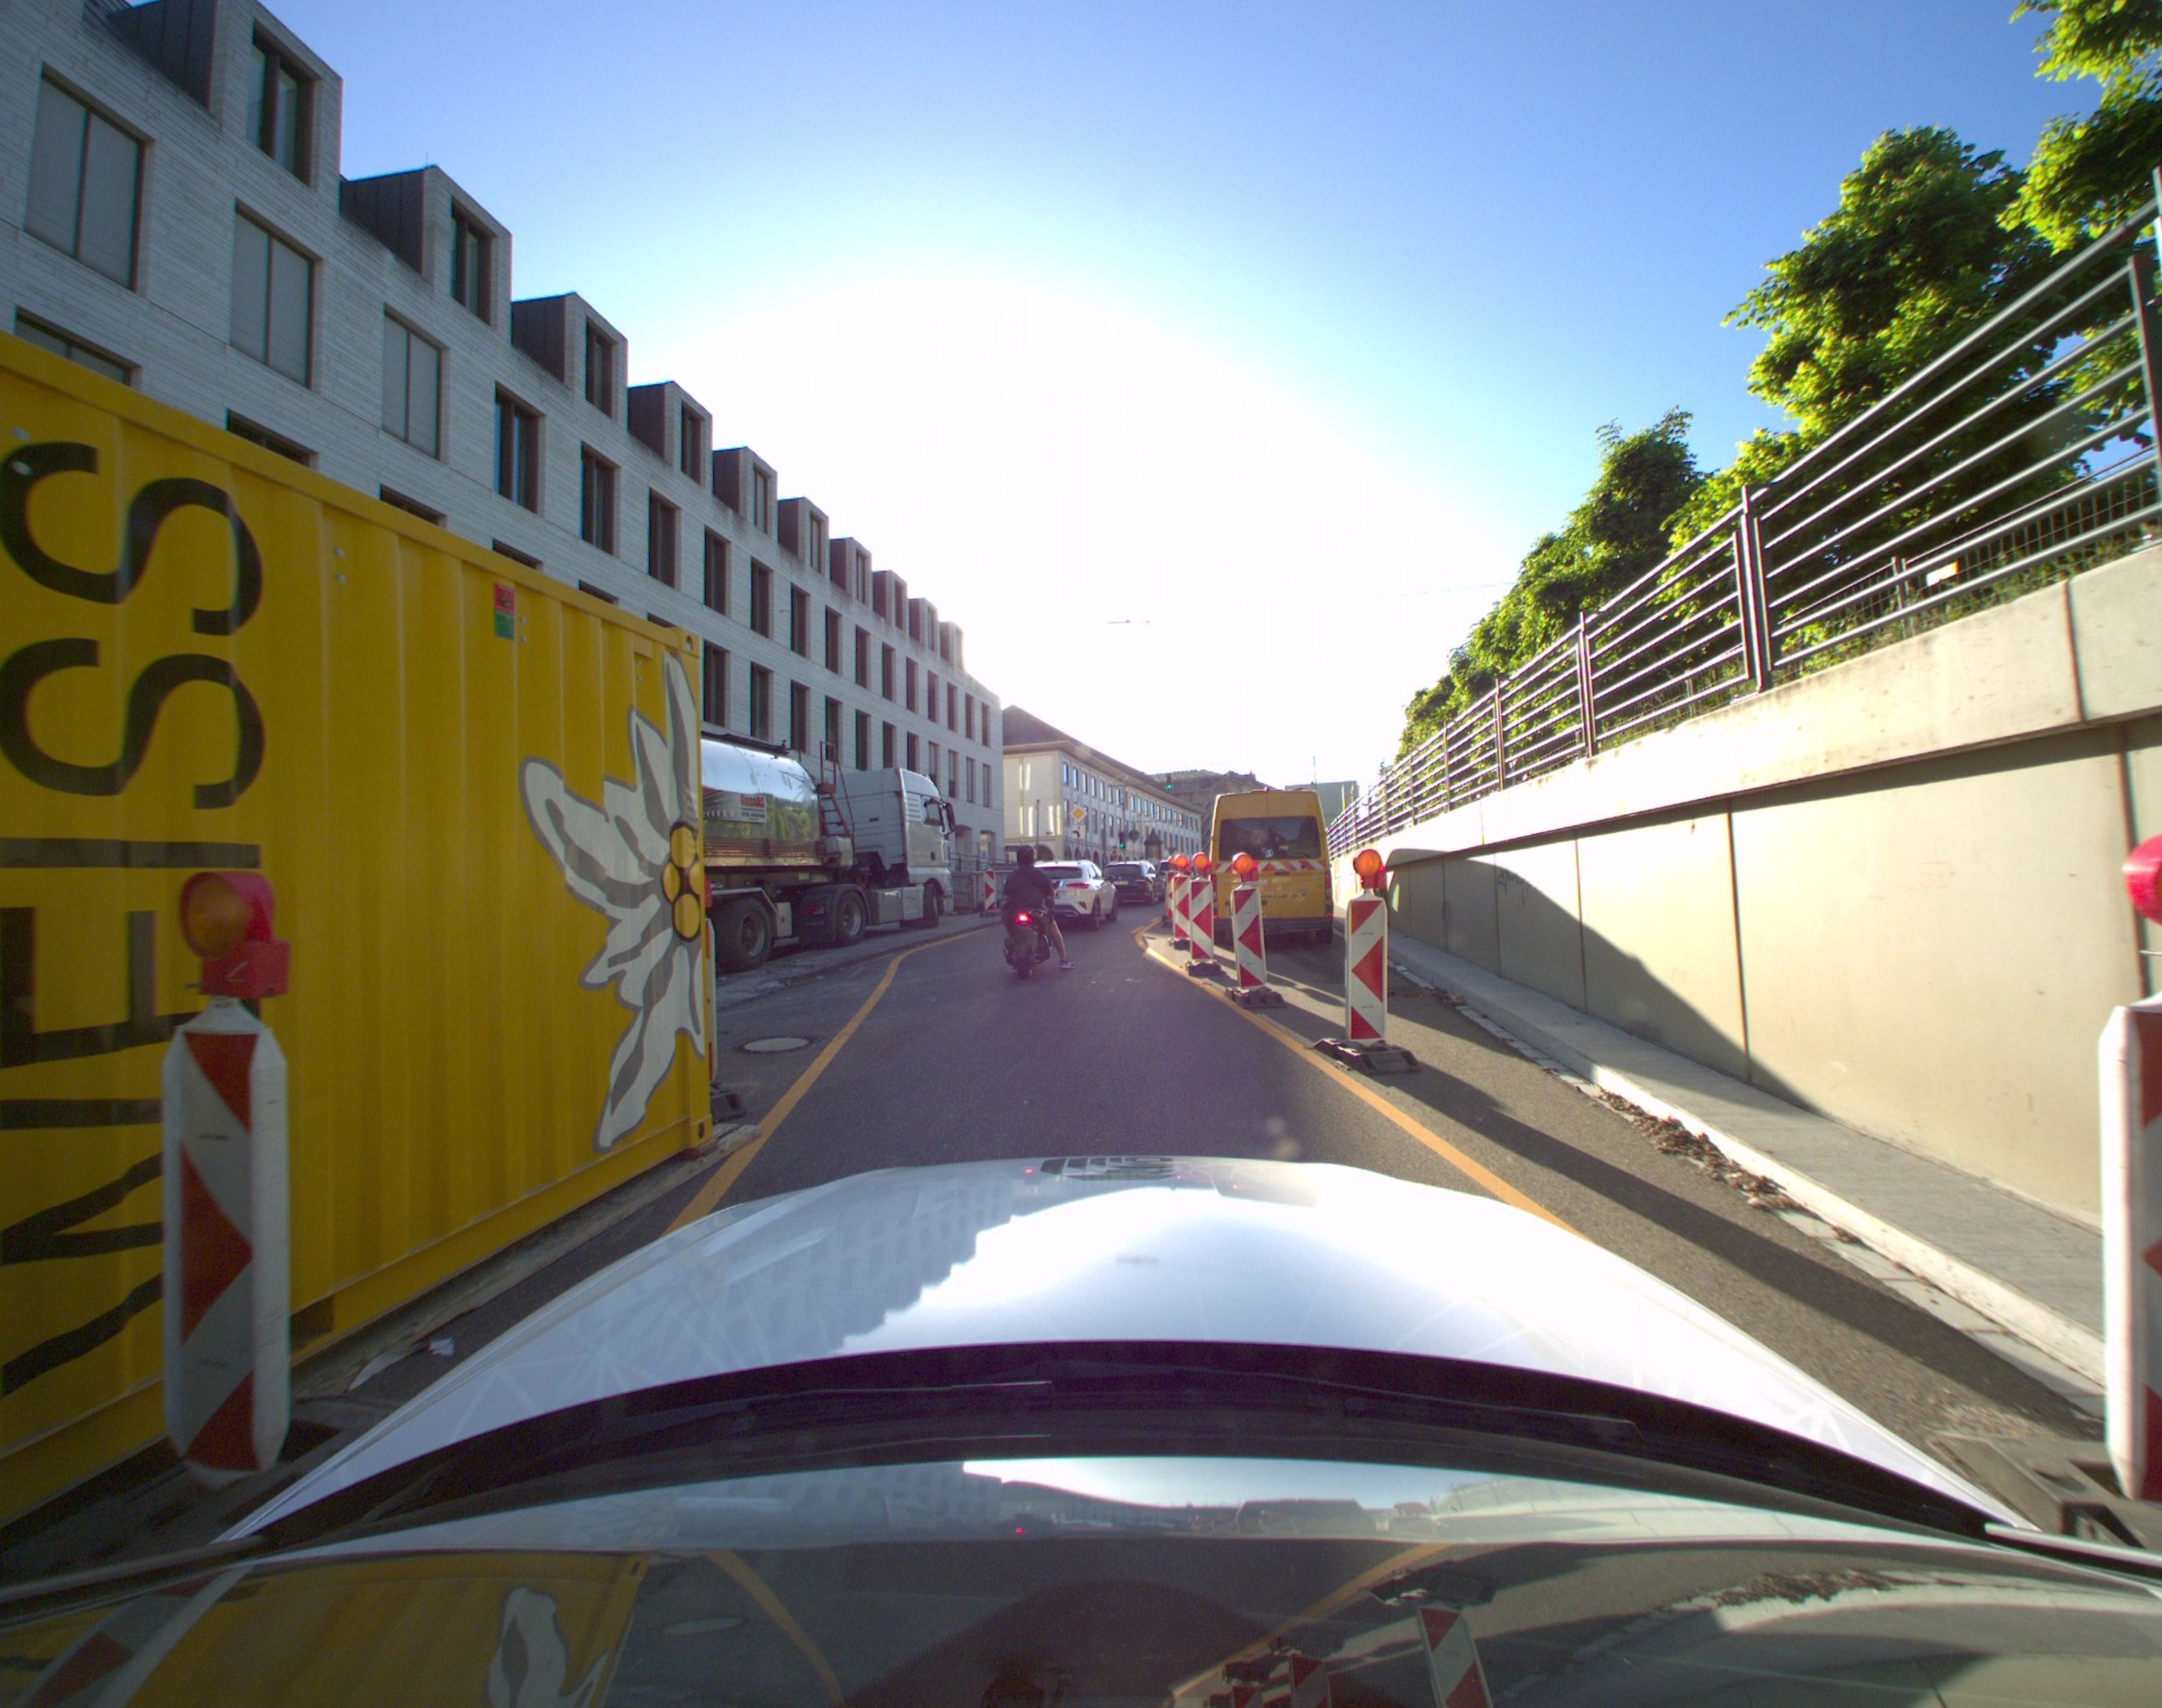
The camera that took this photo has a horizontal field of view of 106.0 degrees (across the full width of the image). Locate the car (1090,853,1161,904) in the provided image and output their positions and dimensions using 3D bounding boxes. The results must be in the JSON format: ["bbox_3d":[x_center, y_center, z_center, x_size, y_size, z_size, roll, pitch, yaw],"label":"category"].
[{"bbox_3d":[1.581,0.842,27.508,1.762,1.550,4.119,-3,-3,11],"label":"car"}]

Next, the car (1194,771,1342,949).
[{"bbox_3d":[3.532,0.129,15.793,2.098,2.625,7.009,-2,-1,12],"label":"car"}]

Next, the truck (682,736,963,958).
[{"bbox_3d":[-4.837,-0.095,16.622,2.562,3.489,5.835,-6,-1,12],"label":"truck"}]

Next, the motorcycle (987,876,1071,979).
[{"bbox_3d":[-0.649,0.926,11.195,0.902,1.183,2.579,-1,0,1],"label":"motorcycle"}]

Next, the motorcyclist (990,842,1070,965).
[{"bbox_3d":[-0.668,0.645,11.100,0.950,1.559,1.239,-1,-1,1],"label":"motorcyclist"}]

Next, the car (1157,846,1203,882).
[{"bbox_3d":[5.146,0.513,42.009,1.790,1.721,4.179,-2,0,14],"label":"car"}]

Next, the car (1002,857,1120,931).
[{"bbox_3d":[-0.326,0.827,18.406,1.847,1.472,4.012,-1,-1,11],"label":"car"}]

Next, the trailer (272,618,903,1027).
[{"bbox_3d":[-5.793,-0.240,12.153,2.626,3.669,8.773,-6,-1,10],"label":"trailer"}]
